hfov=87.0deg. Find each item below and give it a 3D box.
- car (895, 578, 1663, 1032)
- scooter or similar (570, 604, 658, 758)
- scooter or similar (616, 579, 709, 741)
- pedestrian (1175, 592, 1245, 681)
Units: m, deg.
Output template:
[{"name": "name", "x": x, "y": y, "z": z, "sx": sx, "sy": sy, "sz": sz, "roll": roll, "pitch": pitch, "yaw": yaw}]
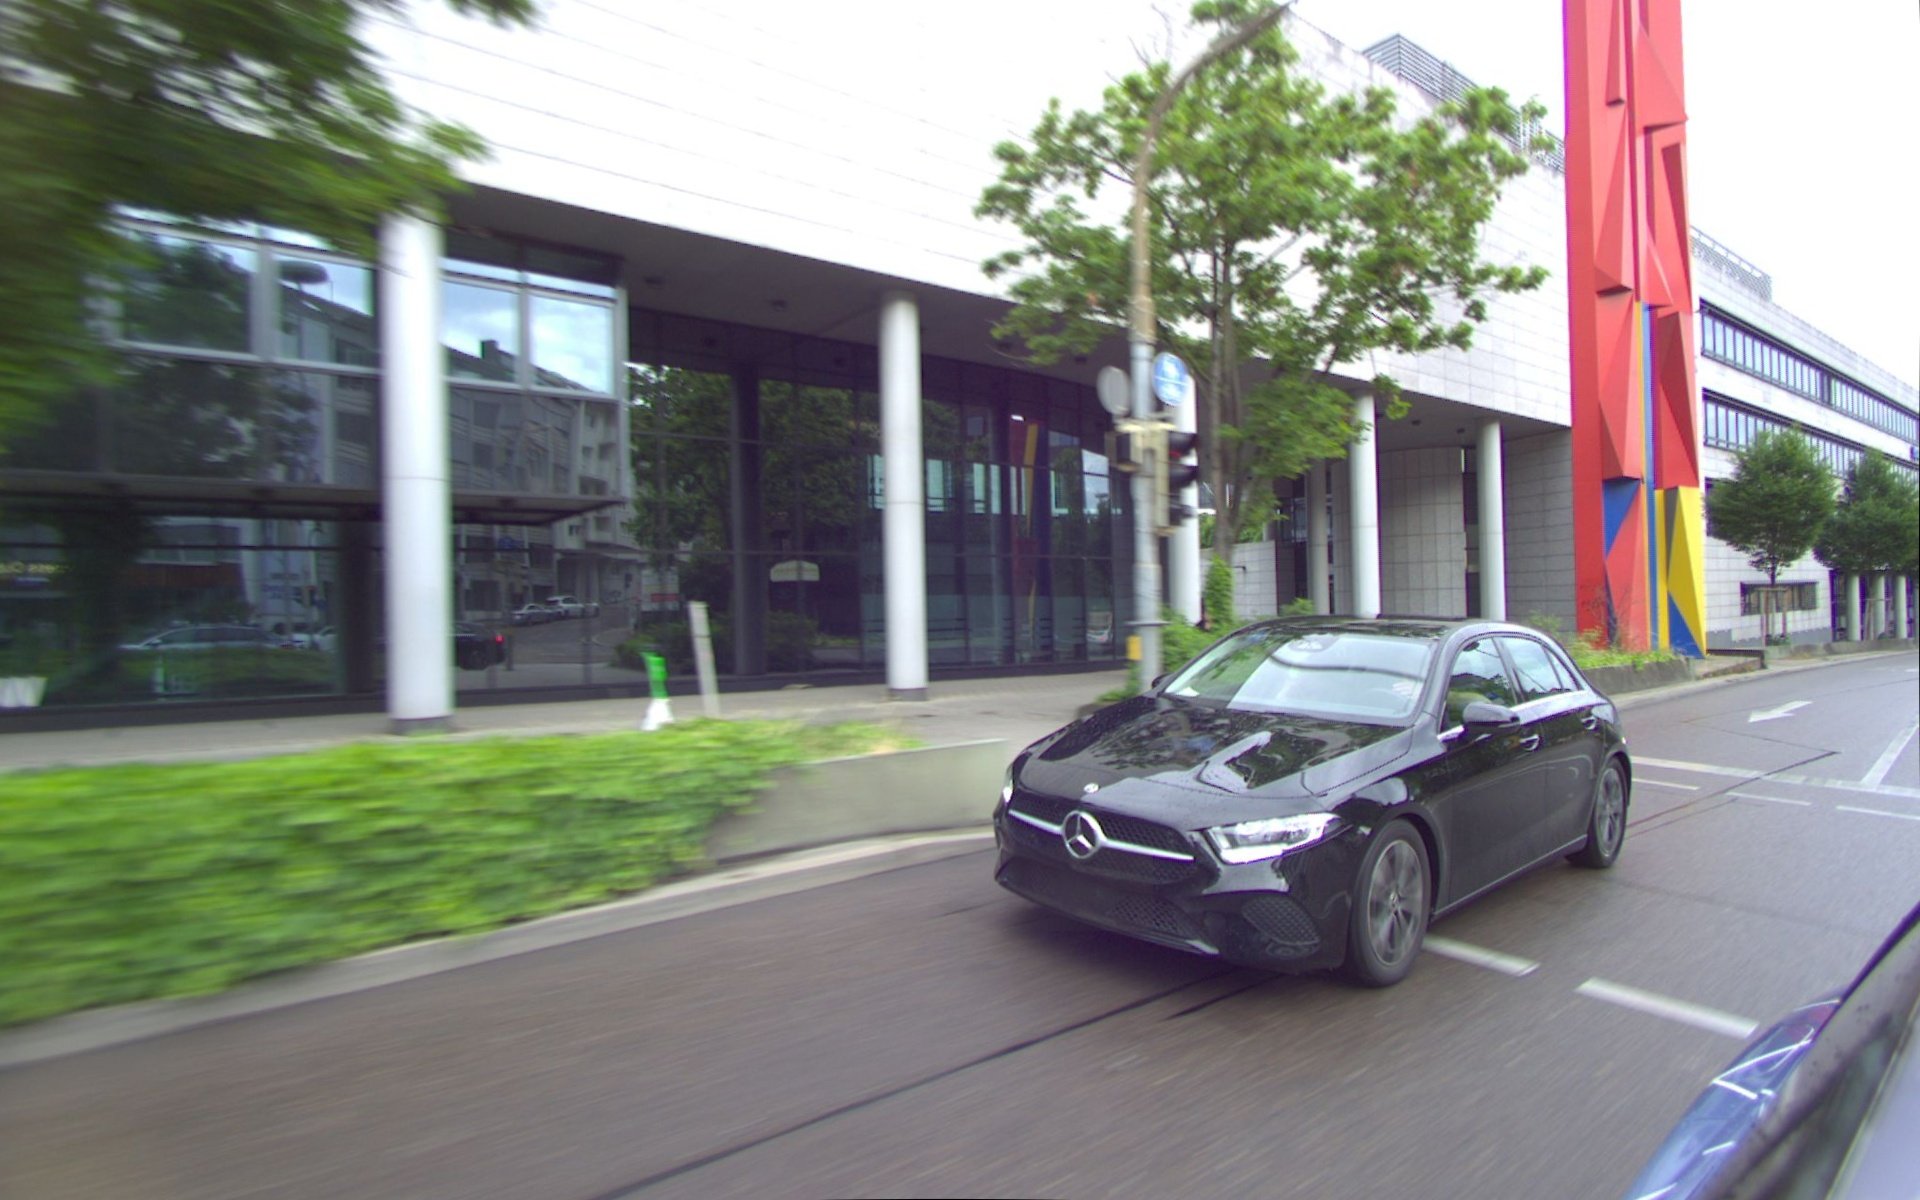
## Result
[{"name": "car", "x": 1.890, "y": 0.690, "z": 5.295, "sx": 4.129, "sy": 1.455, "sz": 1.877, "roll": 1, "pitch": -1, "yaw": -39}, {"name": "scooter or similar", "x": -3.452, "y": 0.764, "z": 10.044, "sx": 0.450, "sy": 1.427, "sz": 1.327, "roll": 1, "pitch": -2, "yaw": -36}, {"name": "scooter or similar", "x": -3.057, "y": 0.588, "z": 10.346, "sx": 0.493, "sy": 1.550, "sz": 1.327, "roll": 1, "pitch": -2, "yaw": -36}, {"name": "pedestrian", "x": 4.697, "y": 0.656, "z": 18.995, "sx": 0.828, "sy": 1.606, "sz": 0.971, "roll": 1, "pitch": 0, "yaw": -42}]
